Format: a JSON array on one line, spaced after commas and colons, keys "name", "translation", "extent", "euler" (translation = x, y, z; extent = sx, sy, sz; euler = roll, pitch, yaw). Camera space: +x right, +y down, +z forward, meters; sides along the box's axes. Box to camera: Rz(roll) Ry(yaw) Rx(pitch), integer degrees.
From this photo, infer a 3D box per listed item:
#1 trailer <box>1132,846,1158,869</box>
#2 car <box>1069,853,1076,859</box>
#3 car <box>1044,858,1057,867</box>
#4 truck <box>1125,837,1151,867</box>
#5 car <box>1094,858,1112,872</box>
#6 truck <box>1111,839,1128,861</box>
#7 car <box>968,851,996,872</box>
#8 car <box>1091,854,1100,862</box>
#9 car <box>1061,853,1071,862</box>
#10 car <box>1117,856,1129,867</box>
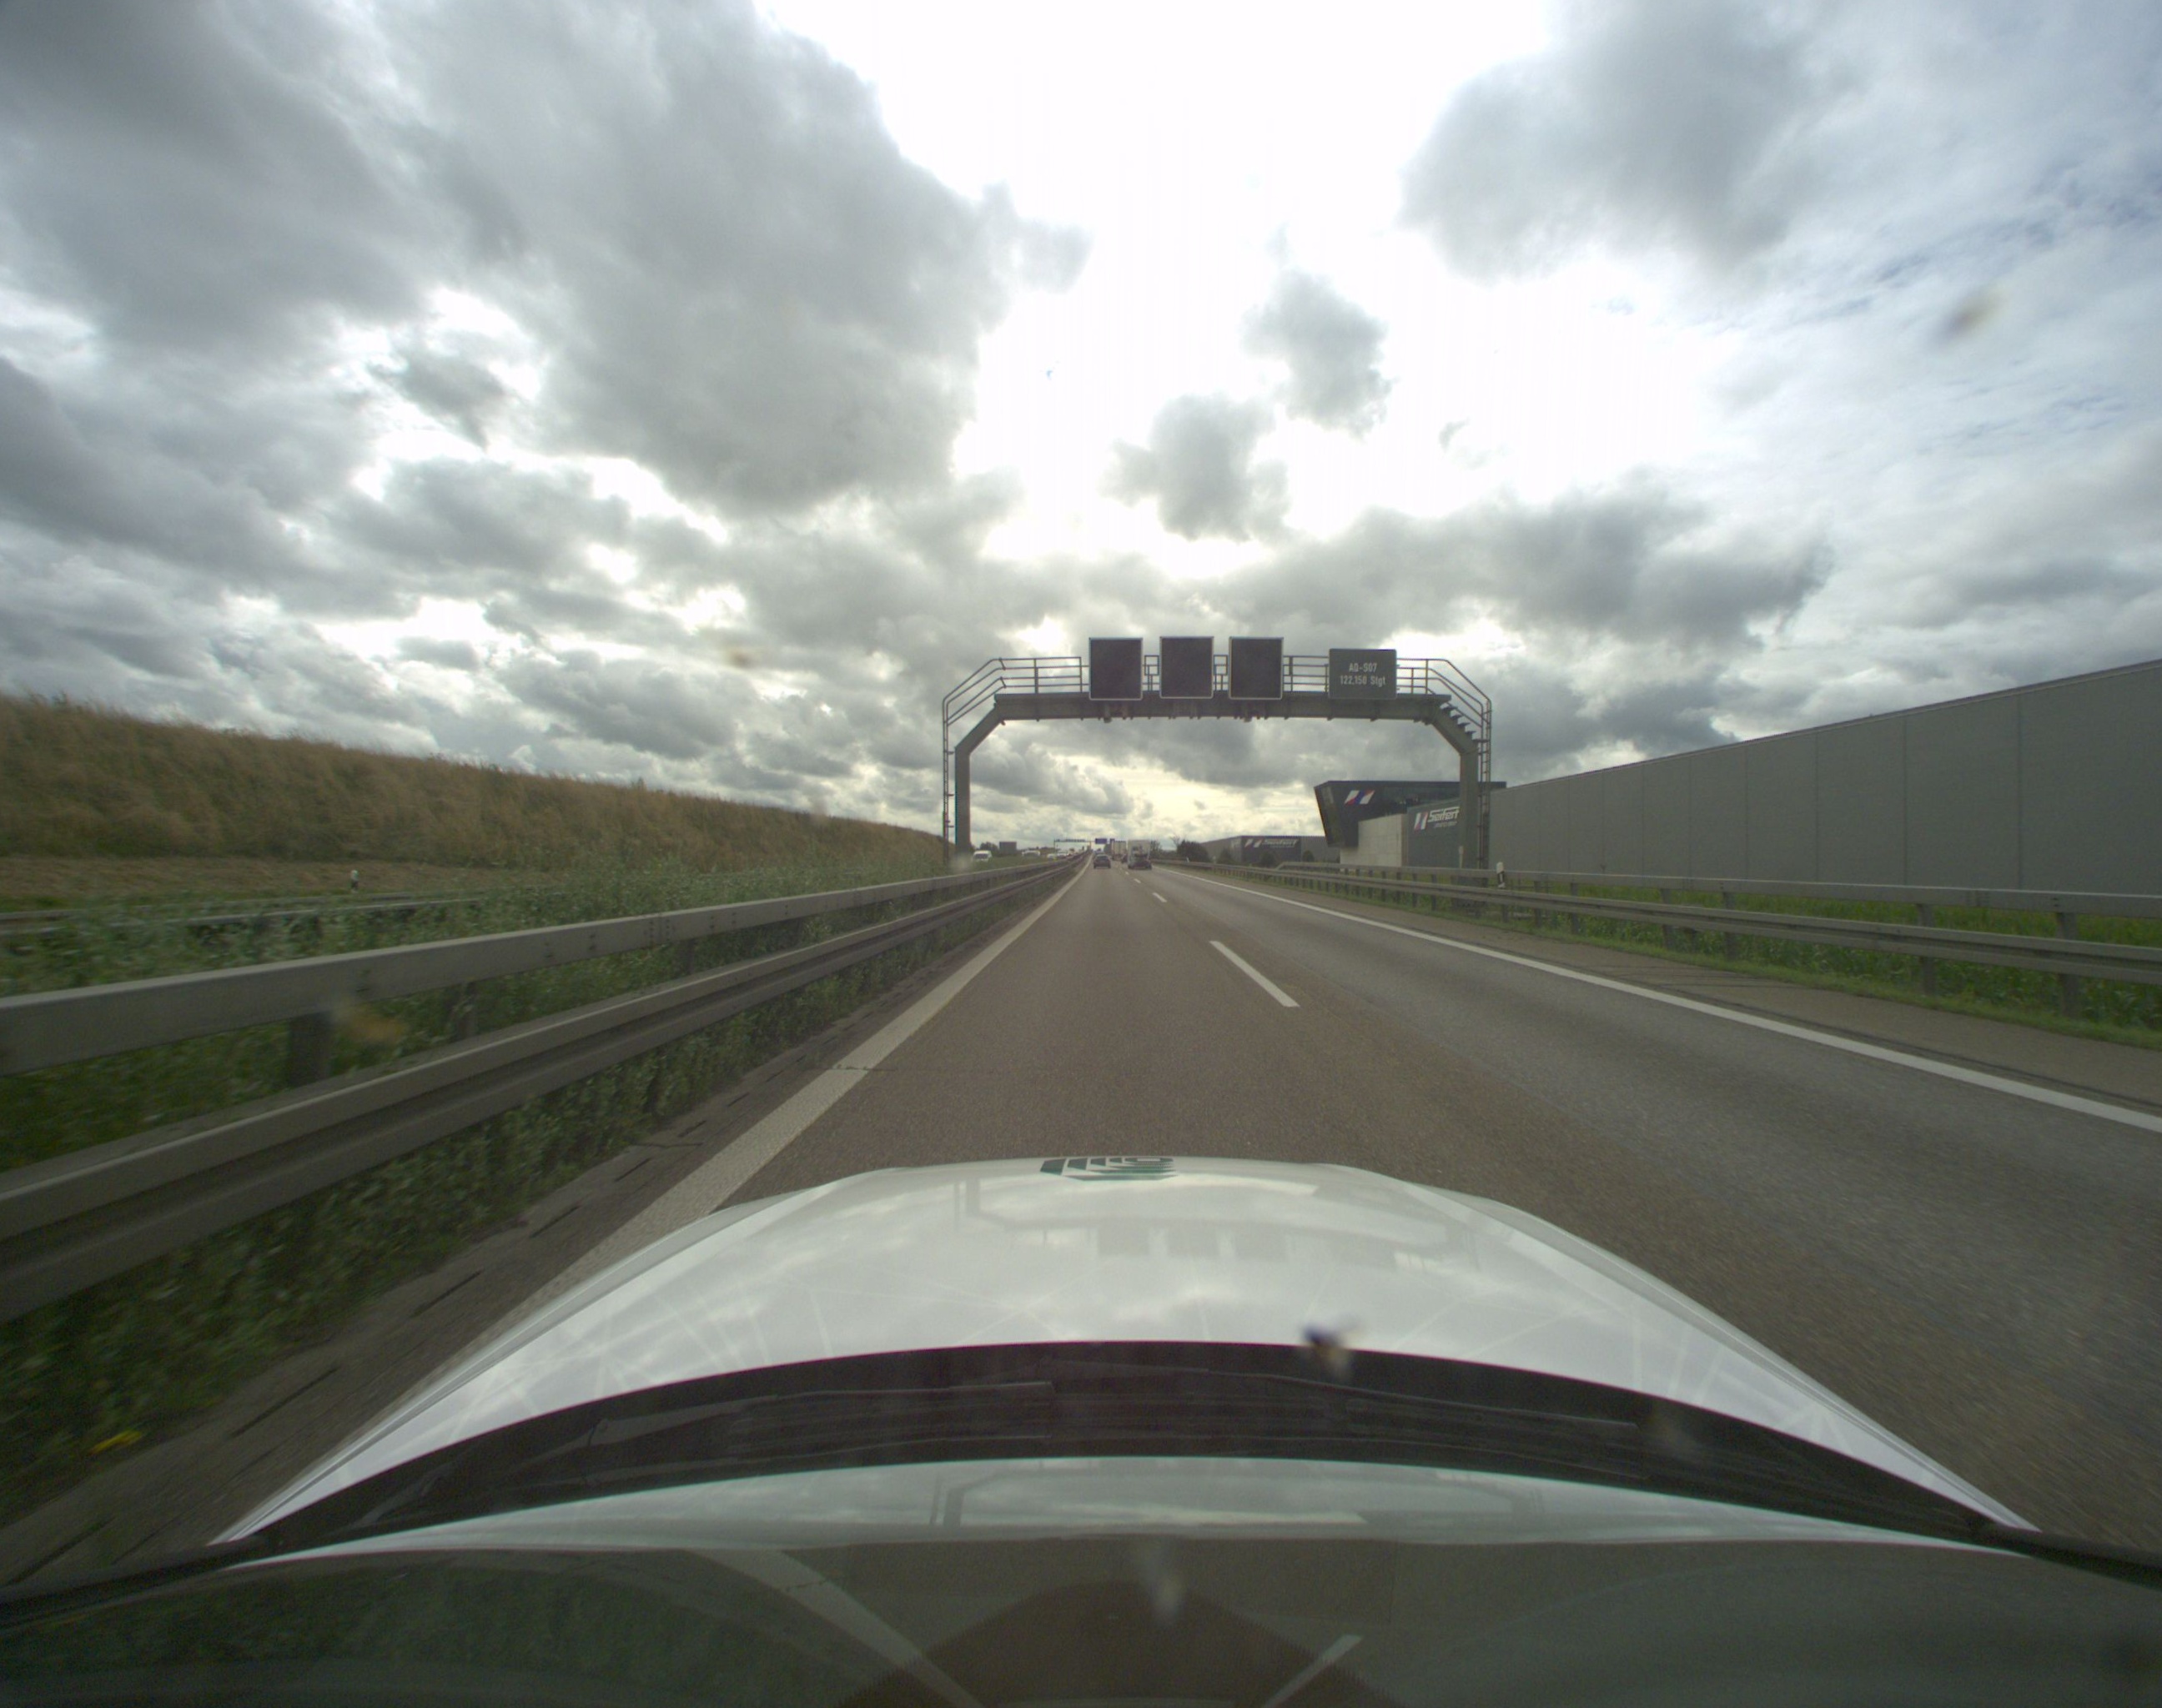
[{"name": "trailer", "translation": [5.992, 0.330, 76.606], "extent": [2.328, 2.136, 4.004], "euler": [0, -1, 3]}, {"name": "car", "translation": [-2.428, 0.523, 230.320], "extent": [1.834, 1.576, 4.001], "euler": [0, -1, 1]}, {"name": "car", "translation": [-4.886, 1.379, 132.000], "extent": [1.804, 1.402, 4.407], "euler": [0, -1, 1]}, {"name": "truck", "translation": [5.862, -0.138, 83.917], "extent": [2.473, 2.950, 5.816], "euler": [0, -1, 2]}, {"name": "car", "translation": [2.292, 1.166, 85.885], "extent": [1.739, 1.453, 4.004], "euler": [0, -1, 4]}, {"name": "truck", "translation": [7.943, -0.790, 167.942], "extent": [3.327, 4.534, 8.019], "euler": [0, -1, 1]}, {"name": "car", "translation": [-9.553, 0.714, 78.690], "extent": [1.986, 2.013, 4.709], "euler": [0, 0, 2]}, {"name": "car", "translation": [3.415, 0.934, 191.970], "extent": [1.935, 1.775, 3.699], "euler": [0, -1, 3]}, {"name": "car", "translation": [-3.194, 0.834, 171.404], "extent": [1.821, 1.885, 5.420], "euler": [0, -1, 2]}, {"name": "car", "translation": [6.442, 1.196, 124.125], "extent": [1.793, 1.685, 4.003], "euler": [0, -1, 3]}]
